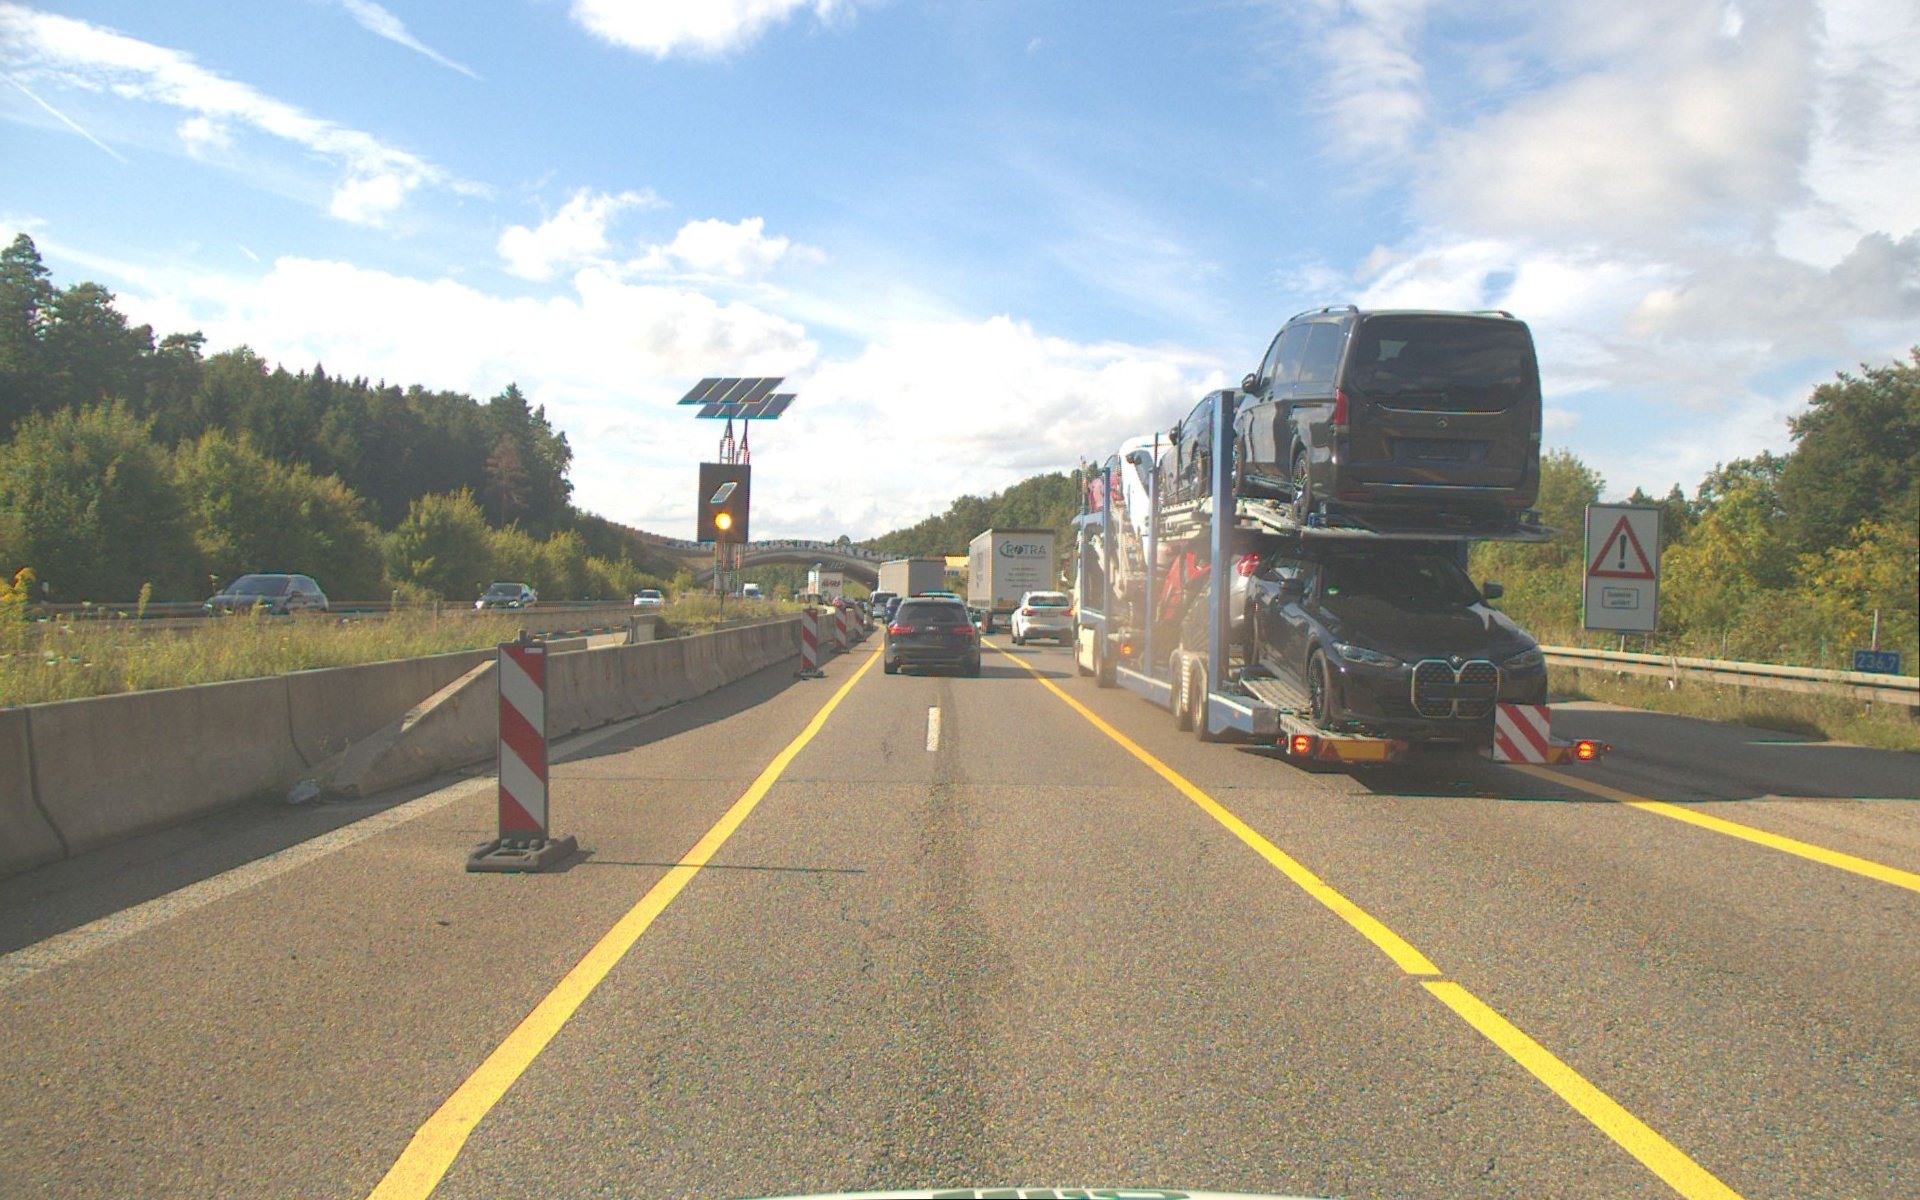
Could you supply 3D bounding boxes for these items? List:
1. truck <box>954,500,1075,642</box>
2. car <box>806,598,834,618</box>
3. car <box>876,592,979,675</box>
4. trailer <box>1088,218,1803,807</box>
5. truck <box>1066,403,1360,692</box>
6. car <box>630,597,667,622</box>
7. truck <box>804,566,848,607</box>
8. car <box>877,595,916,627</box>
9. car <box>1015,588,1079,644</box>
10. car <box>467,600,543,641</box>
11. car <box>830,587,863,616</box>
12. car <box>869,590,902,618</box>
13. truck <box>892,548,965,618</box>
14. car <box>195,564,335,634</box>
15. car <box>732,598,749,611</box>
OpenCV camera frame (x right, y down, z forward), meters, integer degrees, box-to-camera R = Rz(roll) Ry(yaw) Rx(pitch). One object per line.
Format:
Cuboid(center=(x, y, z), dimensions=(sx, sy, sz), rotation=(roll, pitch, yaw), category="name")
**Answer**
Cuboid(center=(2.084, -1.121, 72.139), dimensions=(3.605, 5.447, 16.188), rotation=(1, 0, -4), category="truck")
Cuboid(center=(-12.050, 0.682, 142.246), dimensions=(1.747, 1.630, 4.004), rotation=(1, 0, -13), category="car")
Cuboid(center=(-0.565, 0.615, 32.051), dimensions=(1.851, 1.472, 4.000), rotation=(1, 0, 1), category="car")
Cuboid(center=(4.229, -0.637, 20.316), dimensions=(3.651, 4.269, 16.223), rotation=(1, 0, -1), category="trailer")
Cuboid(center=(4.066, -0.778, 28.822), dimensions=(3.685, 4.269, 7.949), rotation=(1, 0, -1), category="truck")
Cuboid(center=(-21.570, 0.649, 114.593), dimensions=(1.741, 1.630, 4.018), rotation=(1, 0, 1), category="car")
Cuboid(center=(-14.043, -1.376, 172.661), dimensions=(3.587, 3.997, 11.042), rotation=(1, 0, -9), category="truck")
Cuboid(center=(-3.470, 0.580, 89.534), dimensions=(1.854, 1.672, 4.013), rotation=(1, 0, -6), category="car")
Cuboid(center=(2.724, 0.479, 52.521), dimensions=(1.851, 1.672, 4.018), rotation=(1, 0, 1), category="car")
Cuboid(center=(-18.688, 0.821, 68.112), dimensions=(1.918, 1.616, 4.481), rotation=(1, 0, -1), category="car")
Cuboid(center=(-8.323, 0.092, 120.821), dimensions=(1.957, 2.049, 3.990), rotation=(1, 0, -10), category="car")
Cuboid(center=(-4.680, 0.224, 103.407), dimensions=(1.854, 1.672, 4.013), rotation=(1, 0, -6), category="car")
Cuboid(center=(-2.347, -1.177, 117.712), dimensions=(4.236, 4.681, 11.111), rotation=(1, 0, -6), category="truck")
Cuboid(center=(-17.264, -0.024, 41.298), dimensions=(1.741, 1.630, 4.018), rotation=(1, 0, 1), category="car")
Cuboid(center=(-27.514, 0.591, 207.424), dimensions=(1.742, 1.630, 4.016), rotation=(1, 0, -3), category="car")
